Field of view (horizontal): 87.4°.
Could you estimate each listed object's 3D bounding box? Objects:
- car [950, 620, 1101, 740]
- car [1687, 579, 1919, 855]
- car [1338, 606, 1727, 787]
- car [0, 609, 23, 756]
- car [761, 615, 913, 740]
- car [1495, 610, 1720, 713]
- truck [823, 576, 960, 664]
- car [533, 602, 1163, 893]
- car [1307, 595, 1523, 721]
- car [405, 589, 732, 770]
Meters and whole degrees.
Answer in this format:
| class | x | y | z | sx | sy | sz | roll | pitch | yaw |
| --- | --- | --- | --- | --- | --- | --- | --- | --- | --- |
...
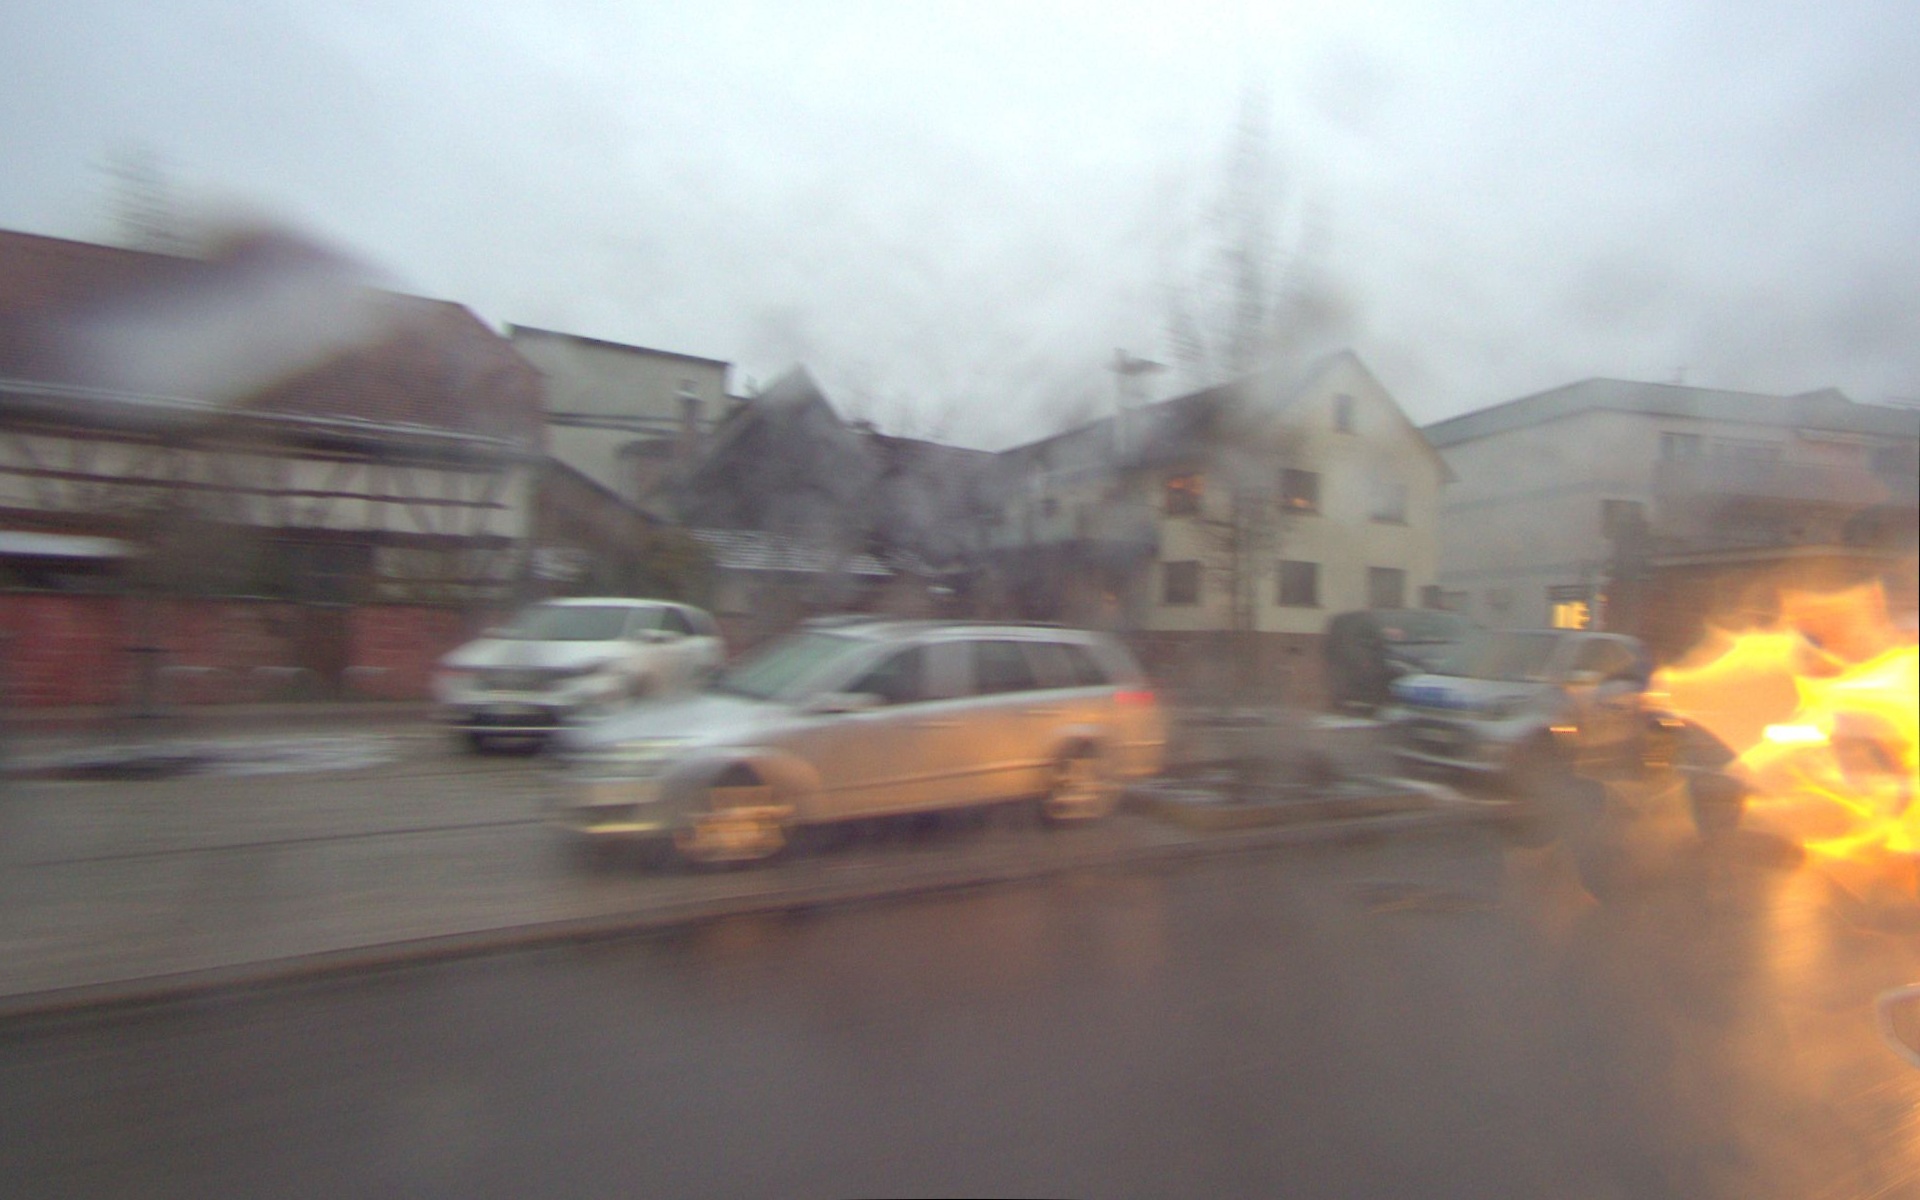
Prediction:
| class | x | y | z | sx | sy | sz | roll | pitch | yaw |
| --- | --- | --- | --- | --- | --- | --- | --- | --- | --- |
| car | 1.035 | 1.087 | 15.161 | 1.960 | 1.550 | 4.002 | 1 | -1 | 5 |
| car | 8.211 | 0.831 | 7.851 | 4.783 | 1.773 | 1.941 | 1 | -4 | -24 |
| car | 5.893 | 0.883 | 10.322 | 3.629 | 1.556 | 1.826 | 2 | -1 | -28 |
| car | -10.336 | 0.753 | 8.176 | 1.724 | 1.478 | 4.072 | 1 | -2 | -4 |
| car | -1.693 | 1.101 | 15.120 | 1.686 | 1.603 | 4.115 | 1 | -3 | 1 |
| car | 13.225 | 1.221 | 20.786 | 1.730 | 1.929 | 3.713 | 1 | -2 | -15 |
| truck | -2.671 | 0.710 | 37.202 | 2.753 | 2.991 | 5.812 | 2 | -1 | -30 |
| car | -0.684 | 0.837 | 7.357 | 4.213 | 1.554 | 1.892 | 1 | -1 | -35 |
| car | 7.890 | 1.016 | 18.074 | 2.032 | 1.910 | 5.402 | 0 | -3 | 7 |
| car | -4.249 | 0.840 | 11.892 | 1.948 | 1.675 | 4.658 | 1 | -2 | 1 |
